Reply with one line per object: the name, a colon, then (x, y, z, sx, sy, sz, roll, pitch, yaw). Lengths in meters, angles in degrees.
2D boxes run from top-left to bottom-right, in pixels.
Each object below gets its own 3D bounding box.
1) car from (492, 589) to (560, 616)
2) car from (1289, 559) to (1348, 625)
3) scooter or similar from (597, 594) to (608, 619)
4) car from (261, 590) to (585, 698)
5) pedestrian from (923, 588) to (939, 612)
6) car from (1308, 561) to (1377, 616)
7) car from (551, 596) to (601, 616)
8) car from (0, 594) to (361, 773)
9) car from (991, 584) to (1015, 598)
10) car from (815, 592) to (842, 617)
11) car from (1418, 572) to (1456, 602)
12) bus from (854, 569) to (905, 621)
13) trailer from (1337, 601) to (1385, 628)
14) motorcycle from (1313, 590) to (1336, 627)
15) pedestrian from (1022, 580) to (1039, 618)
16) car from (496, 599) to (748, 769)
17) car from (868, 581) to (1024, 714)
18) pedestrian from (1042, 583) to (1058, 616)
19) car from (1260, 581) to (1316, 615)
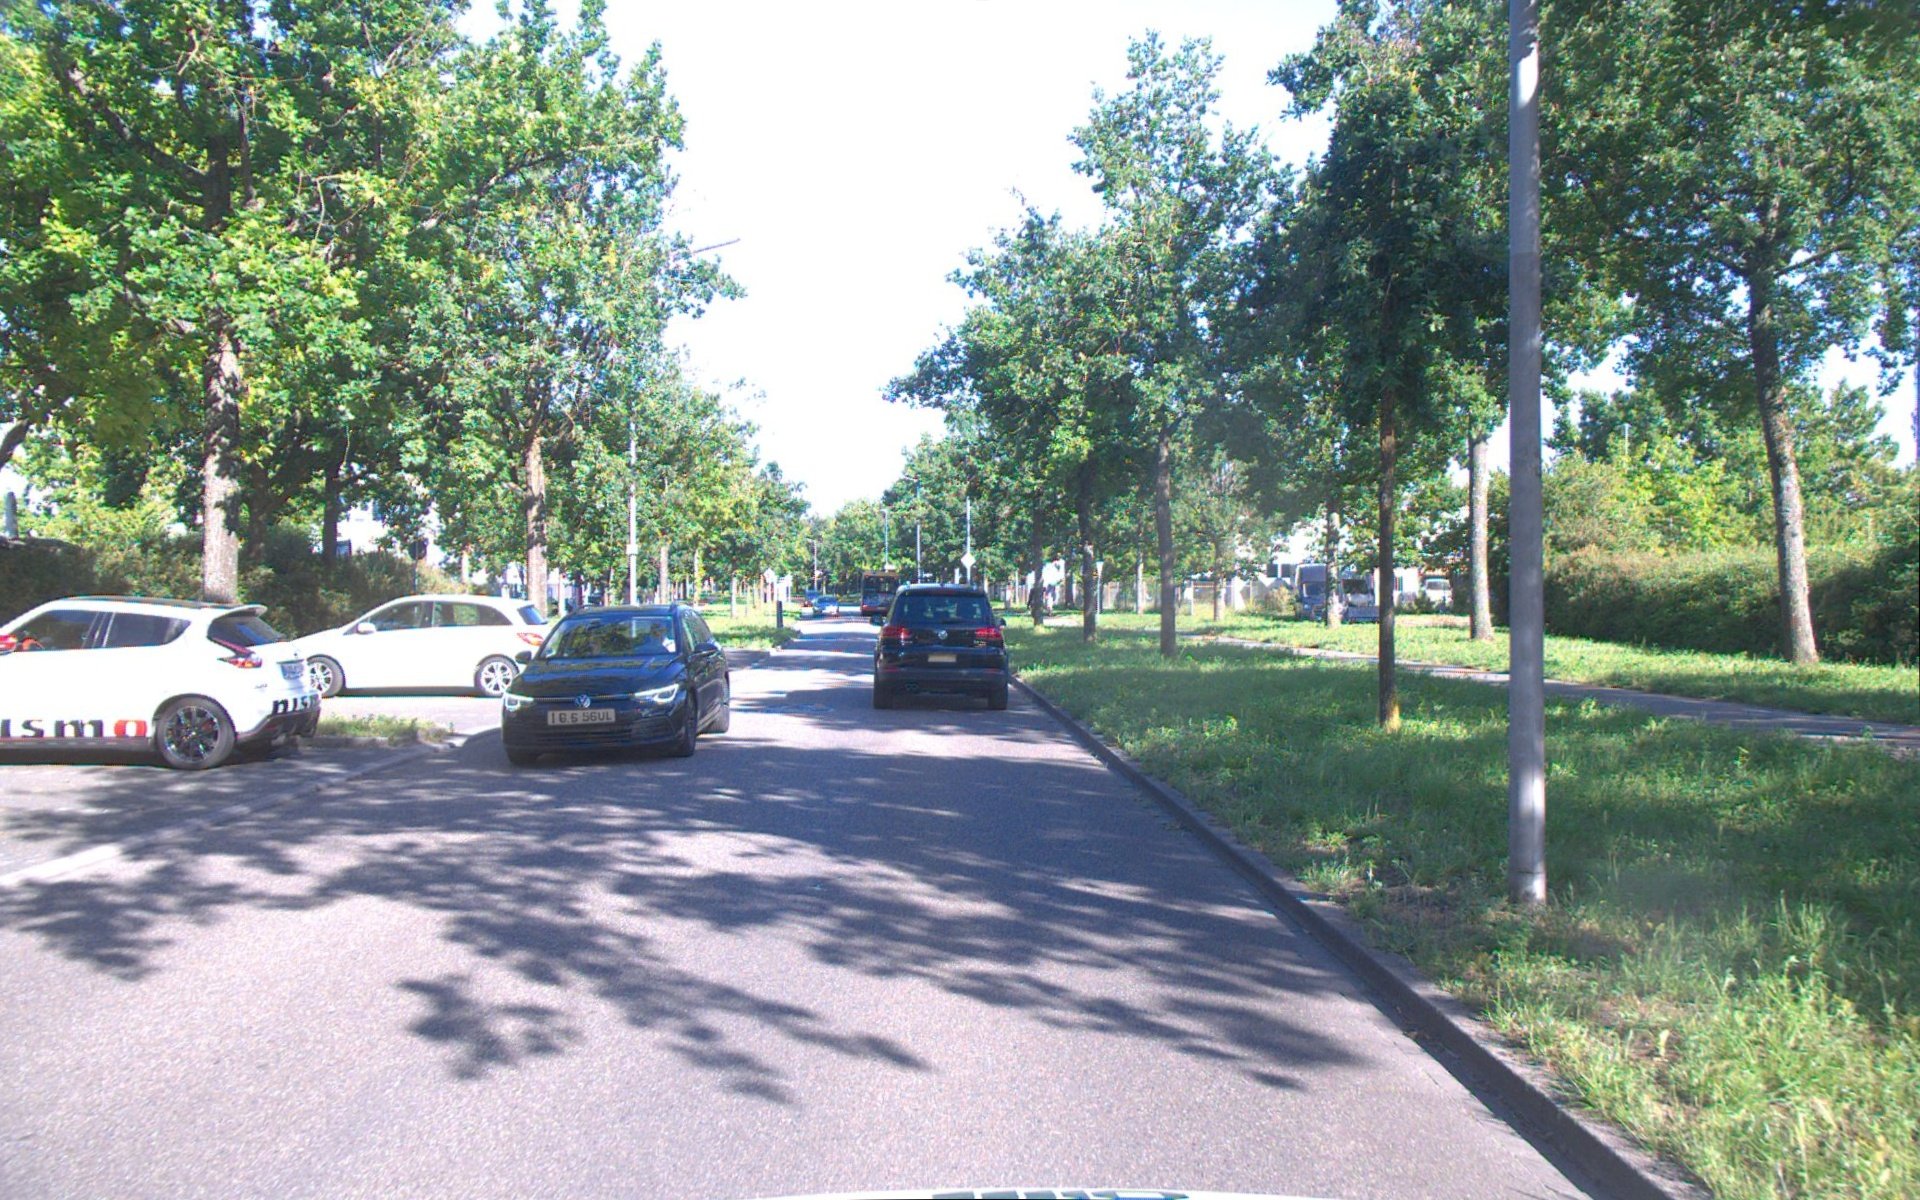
car: (-34.041, 0.170, 129.754, 1.966, 2.049, 4.826, -1, 1, 44)
car: (15.984, -0.405, 73.924, 2.040, 2.610, 5.979, 1, 3, 7)
scooter or similar: (-19.628, 0.352, 90.772, 0.387, 1.301, 1.440, -1, 0, -3)
car: (-8.449, 0.679, 26.426, 4.537, 1.585, 2.189, 1, 1, -6)
pedestrian: (-2.003, -0.011, 114.257, 0.999, 1.680, 1.098, -1, 0, -5)
car: (19.466, -0.572, 84.381, 2.118, 2.689, 4.847, -1, 0, -4)
car: (-32.737, 0.496, 141.104, 3.662, 1.646, 1.965, -1, 0, 10)
car: (-8.240, 0.738, 15.730, 4.324, 1.537, 2.087, 1, 1, -3)
car: (5.440, -1.147, 210.728, 2.144, 1.774, 4.631, -1, 1, -9)
car: (-8.909, 0.265, 111.975, 1.731, 1.555, 4.491, -2, 1, -4)
car: (27.114, -0.750, 94.102, 1.796, 1.668, 4.004, -1, 0, 13)
bus: (-5.831, -0.392, 117.965, 2.712, 3.517, 11.192, -1, 1, -7)
trailer: (14.909, 0.535, 61.596, 1.545, 0.883, 2.055, -1, -4, 8)
motorcycle: (13.987, 0.340, 63.479, 0.648, 1.253, 2.407, -1, -4, 7)
pedestrian: (3.552, -0.048, 83.285, 0.711, 1.843, 0.867, -1, 3, -5)
car: (-3.321, 0.754, 17.067, 1.650, 1.426, 4.427, -2, 1, 0)
car: (-0.293, 0.584, 23.464, 1.898, 1.685, 4.423, 1, 1, -4)
pedestrian: (4.950, -0.028, 90.908, 0.711, 1.785, 0.867, -3, 0, -4)
car: (16.863, -0.109, 85.217, 1.966, 1.693, 3.594, -1, 0, -4)
